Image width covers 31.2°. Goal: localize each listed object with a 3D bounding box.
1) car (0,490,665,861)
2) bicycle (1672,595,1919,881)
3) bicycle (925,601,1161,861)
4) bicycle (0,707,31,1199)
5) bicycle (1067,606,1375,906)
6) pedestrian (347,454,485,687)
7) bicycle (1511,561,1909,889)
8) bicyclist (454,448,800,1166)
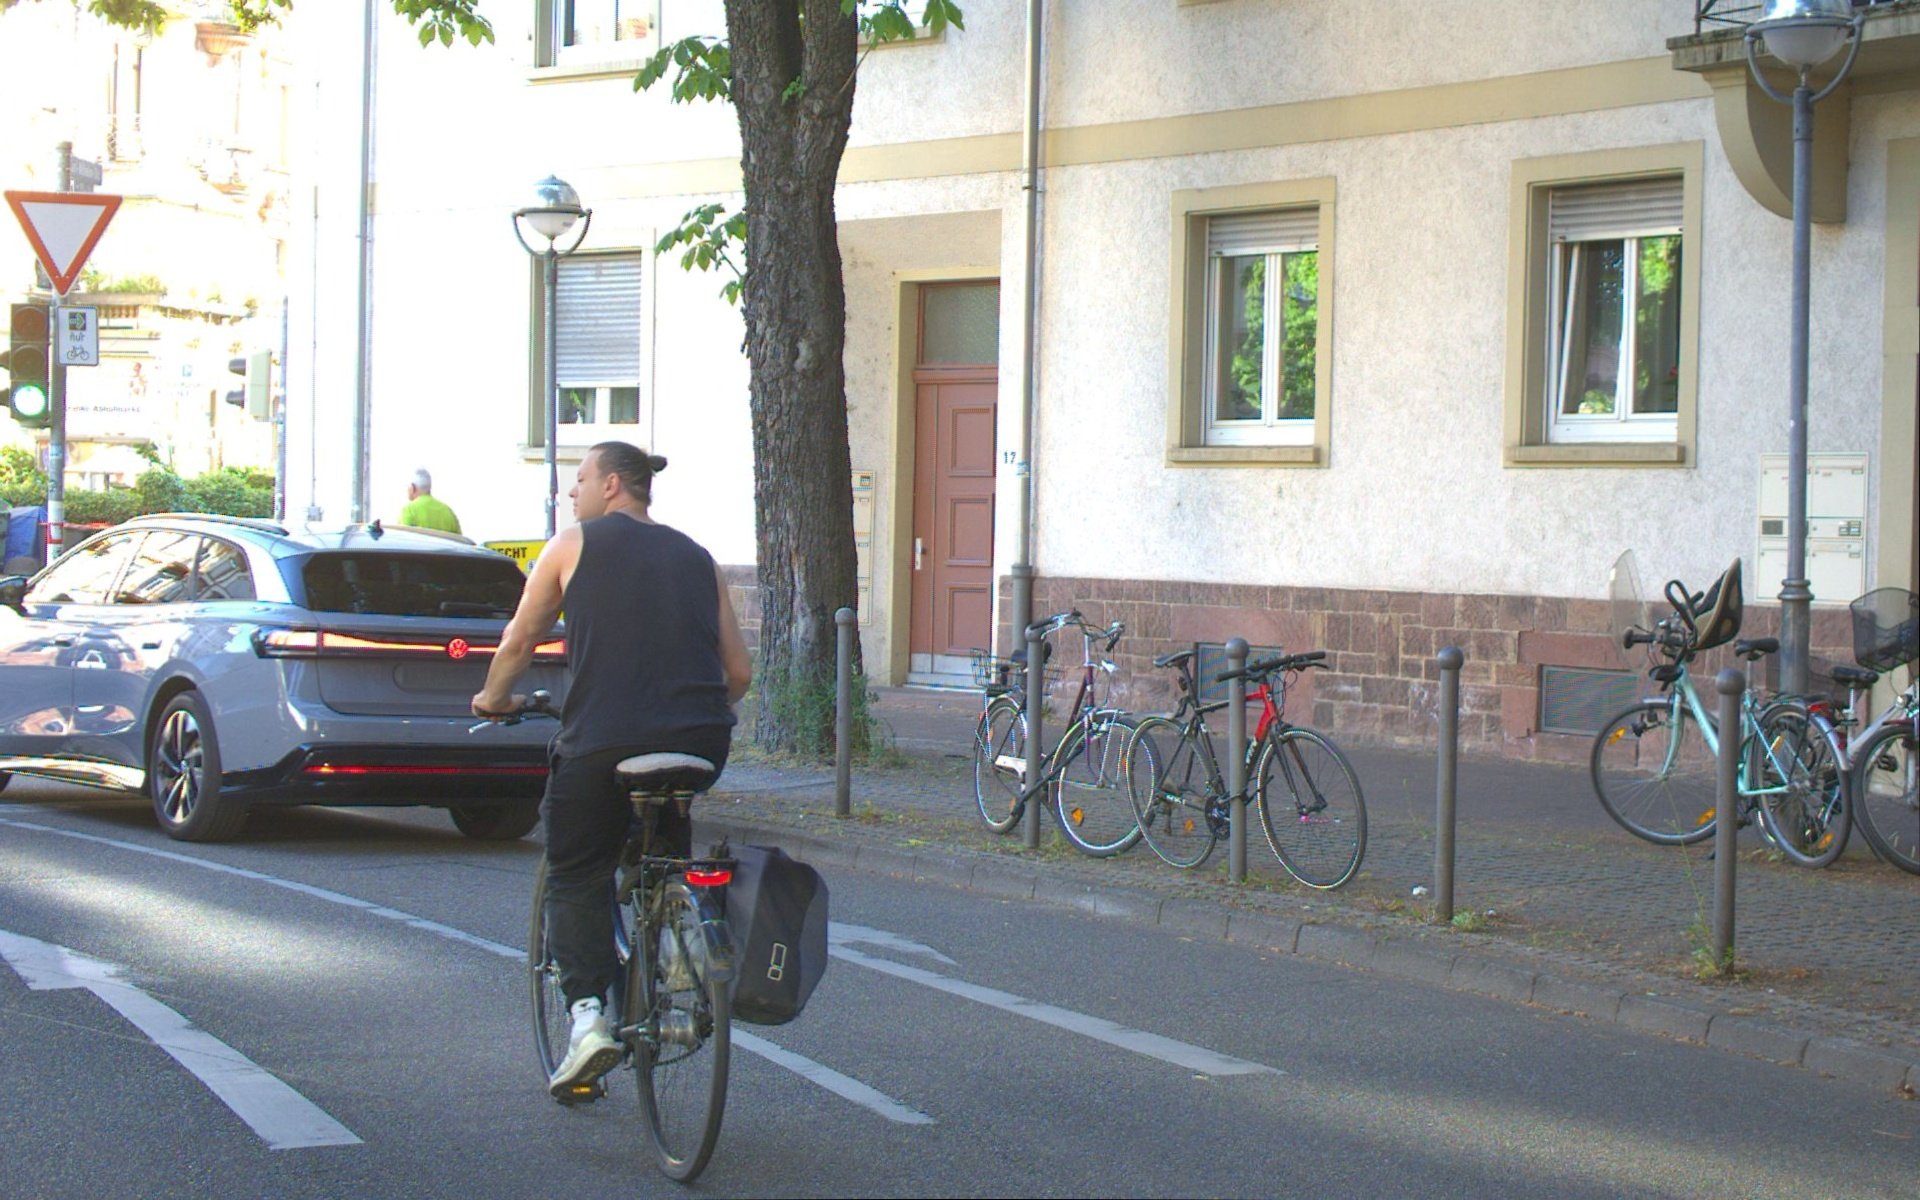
[{"bbox_3d":[-3.578,0.307,17.442,1.970,1.580,4.474,3,0,-38],"label":"car"},{"bbox_3d":[3.910,0.565,14.891,0.667,1.103,1.967,1,1,-19],"label":"bicycle"},{"bbox_3d":[0.363,0.579,15.992,0.480,1.060,1.636,-2,3,-22],"label":"bicycle"},{"bbox_3d":[-2.502,0.773,7.544,0.717,1.103,1.967,1,1,-20],"label":"bicycle"},{"bbox_3d":[1.069,0.619,14.489,0.526,1.103,1.741,-2,3,-24],"label":"bicycle"},{"bbox_3d":[-4.134,-0.239,26.102,0.643,1.721,0.888,-3,3,-39],"label":"pedestrian"},{"bbox_3d":[3.198,0.493,14.873,0.717,1.273,1.967,-1,2,-21],"label":"bicycle"},{"bbox_3d":[-0.839,0.463,8.453,0.686,1.650,0.990,0,2,-15],"label":"bicyclist"}]
